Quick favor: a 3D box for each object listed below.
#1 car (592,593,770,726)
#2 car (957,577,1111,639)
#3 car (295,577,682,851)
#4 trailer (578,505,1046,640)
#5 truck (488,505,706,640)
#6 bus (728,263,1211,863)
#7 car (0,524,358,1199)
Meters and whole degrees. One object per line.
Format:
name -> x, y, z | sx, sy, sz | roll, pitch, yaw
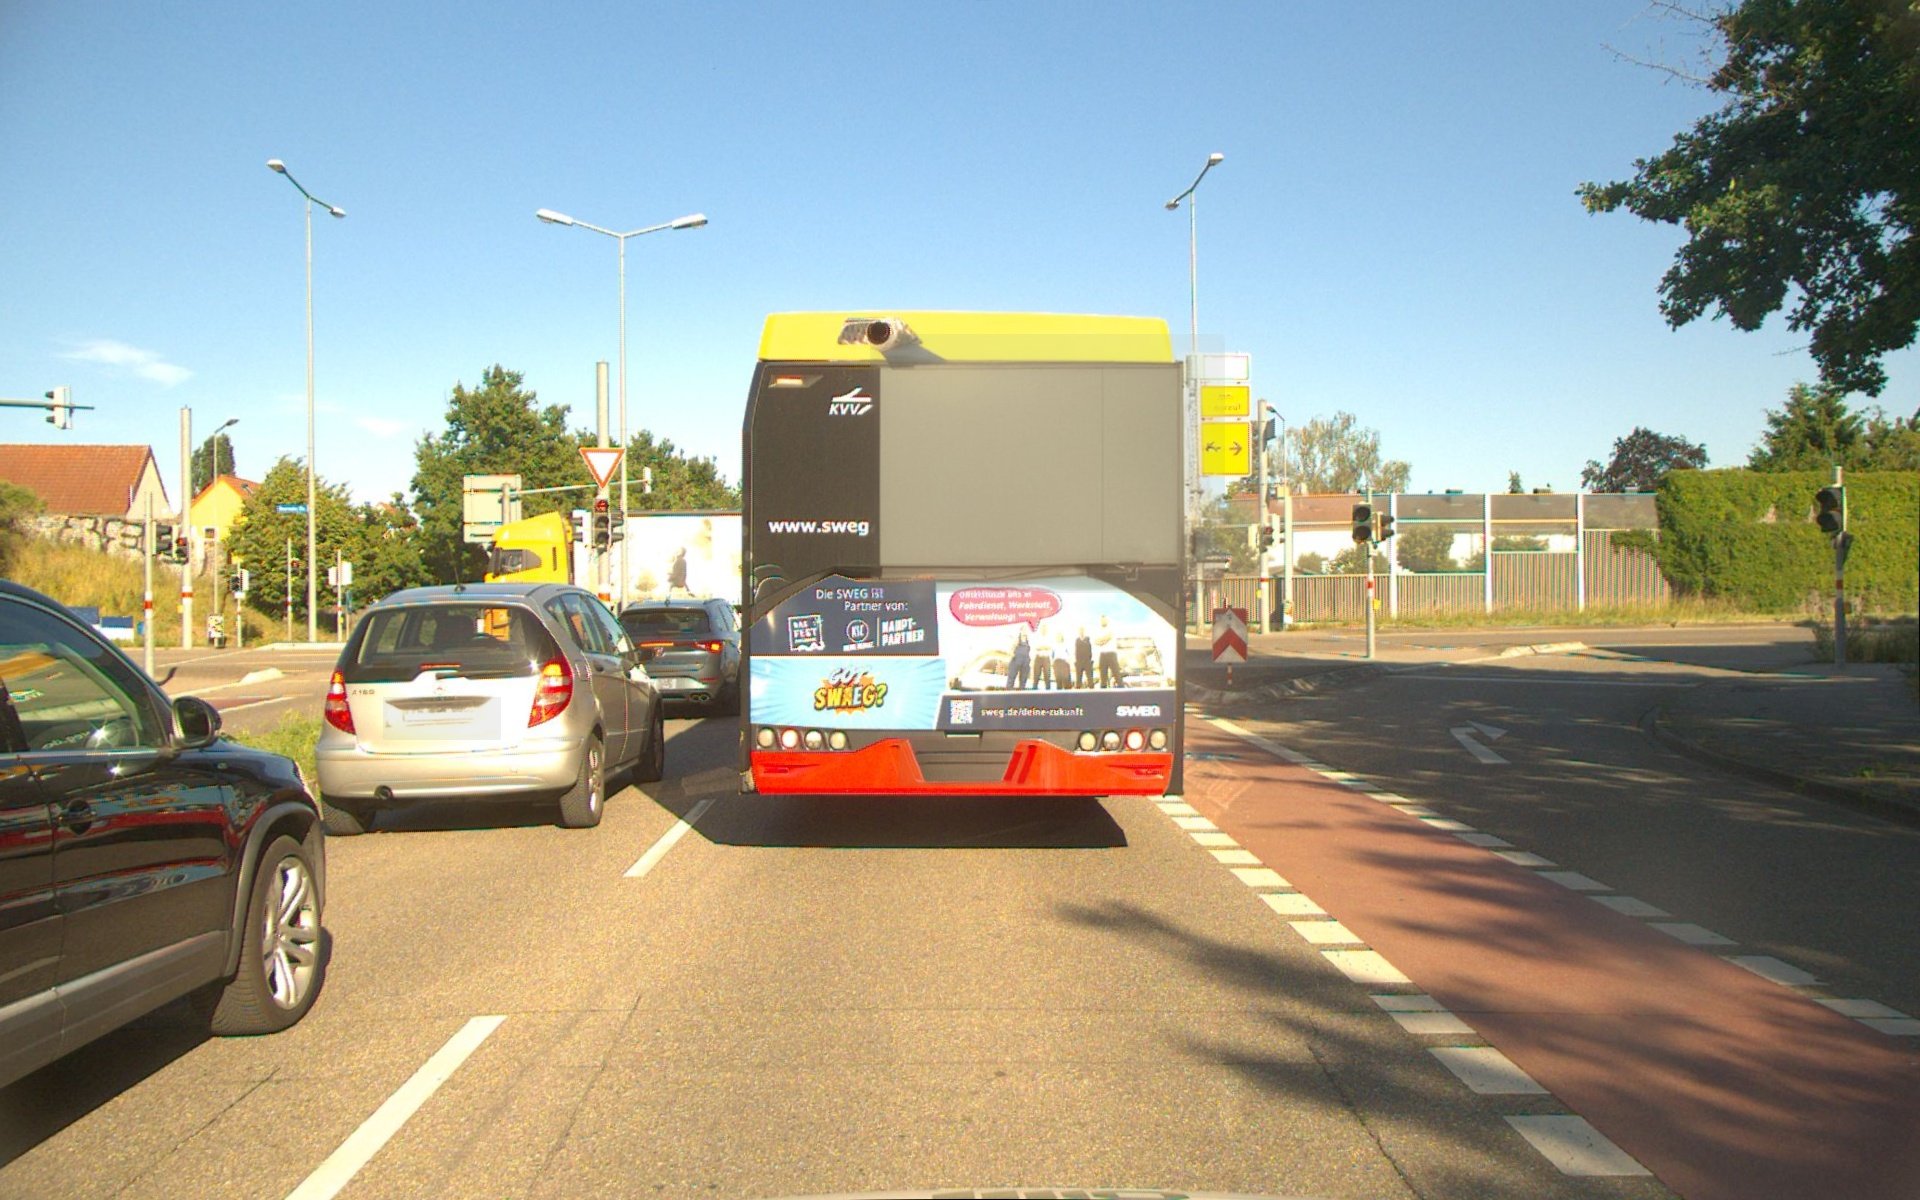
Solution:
car -> -3.452, 0.681, 21.051 | 1.658, 1.484, 3.750 | -2, 0, -1
car -> 2.050, 0.215, 46.397 | 3.994, 1.552, 1.764 | -2, 0, -11
car -> -3.220, 0.686, 12.123 | 1.725, 1.617, 3.999 | -2, 0, -1
trailer -> -4.647, -0.885, 52.808 | 14.380, 4.083, 3.435 | 0, 0, -8
truck -> -11.256, -0.848, 51.898 | 6.353, 4.083, 3.435 | 0, 0, -8
bus -> 0.018, -0.249, 14.886 | 2.589, 3.222, 11.860 | 0, 0, 0
car -> -3.147, 0.690, 4.296 | 1.736, 1.682, 3.999 | -2, 0, -1
